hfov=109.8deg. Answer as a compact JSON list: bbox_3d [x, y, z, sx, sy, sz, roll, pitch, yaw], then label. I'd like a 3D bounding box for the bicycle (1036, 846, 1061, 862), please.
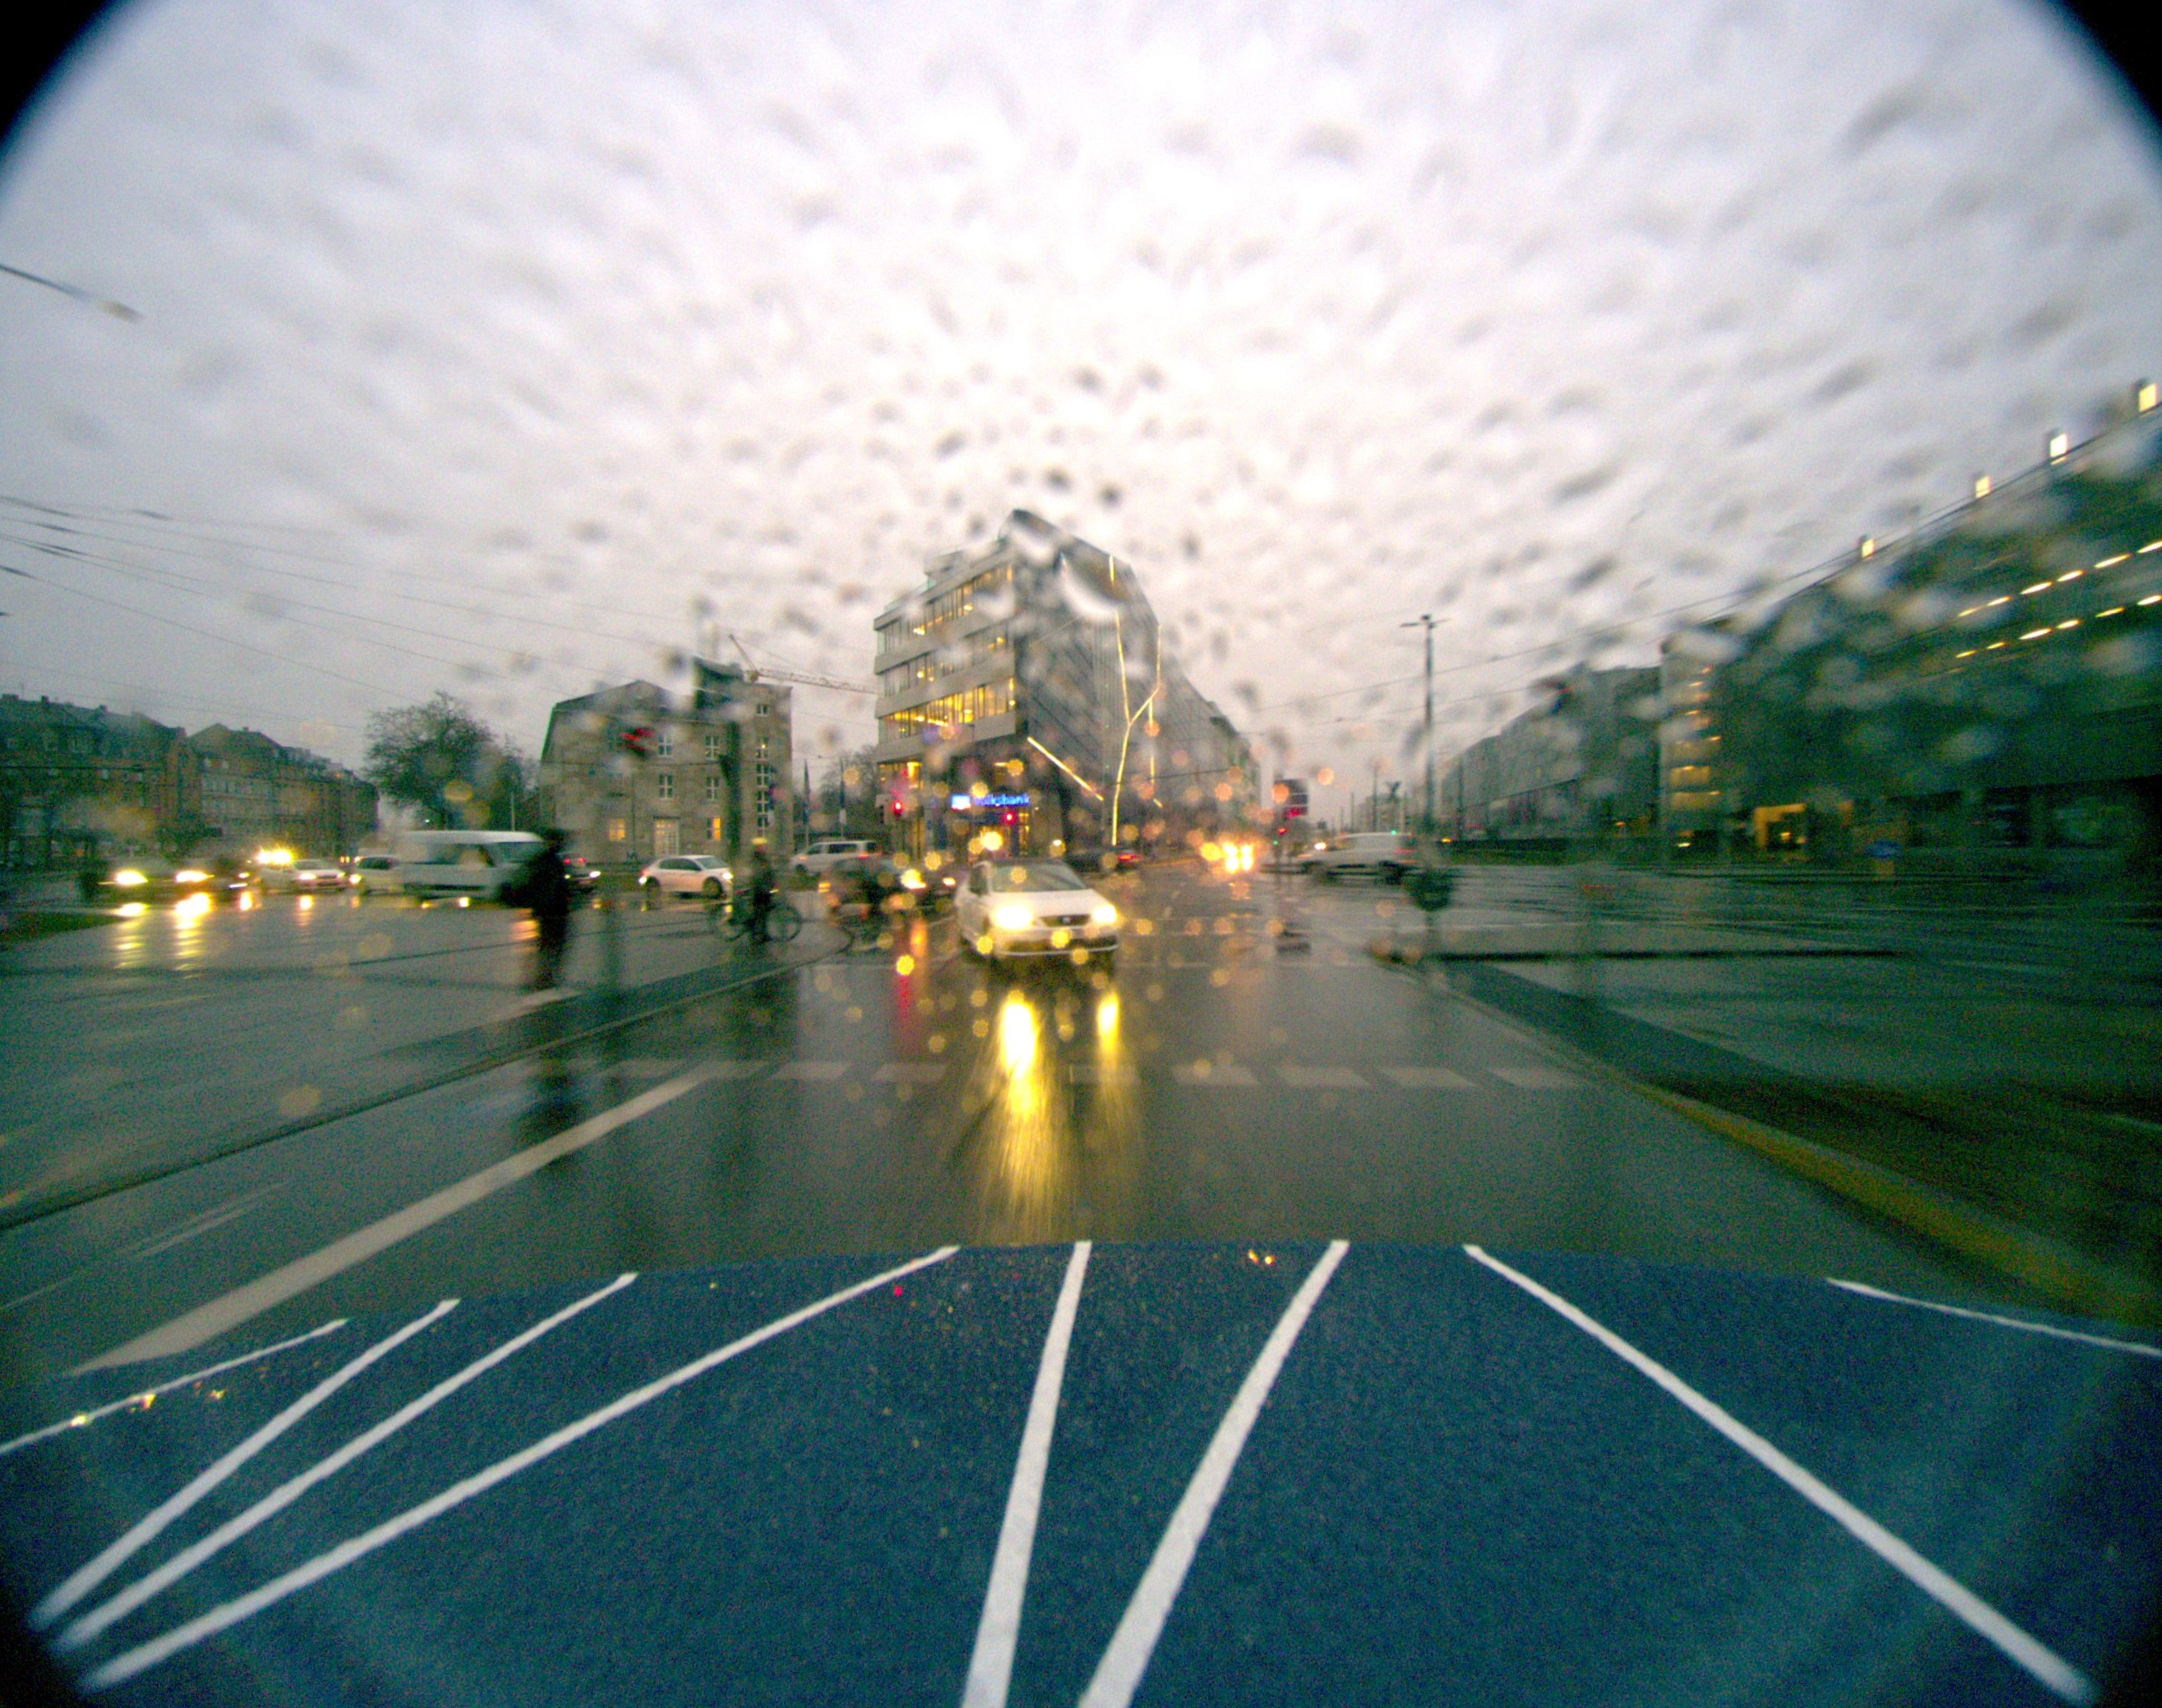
[{"bbox_3d":[-2.332,0.006,54.354,1.598,1.064,0.643,-1,1,18],"label":"bicycle"}]

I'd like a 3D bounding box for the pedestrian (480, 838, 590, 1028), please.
[{"bbox_3d":[-5.701,0.773,7.943,0.633,1.867,0.777,1,2,43],"label":"pedestrian"}]

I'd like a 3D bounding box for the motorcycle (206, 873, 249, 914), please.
[{"bbox_3d":[-26.712,1.210,23.772,2.403,1.176,0.485,0,2,33],"label":"motorcycle"}]

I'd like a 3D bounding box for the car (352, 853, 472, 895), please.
[{"bbox_3d":[-27.216,0.798,30.946,4.214,1.590,1.678,0,1,17],"label":"car"}]

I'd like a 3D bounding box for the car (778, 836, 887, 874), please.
[{"bbox_3d":[-13.821,0.042,42.253,5.649,2.047,1.956,0,1,18],"label":"car"}]

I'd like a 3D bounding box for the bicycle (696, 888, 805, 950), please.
[{"bbox_3d":[-5.831,1.113,13.392,1.862,0.968,0.658,0,1,25],"label":"bicycle"}]

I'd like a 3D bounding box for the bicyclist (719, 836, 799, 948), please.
[{"bbox_3d":[-5.616,0.639,13.287,0.986,1.880,0.794,0,2,25],"label":"bicyclist"}]

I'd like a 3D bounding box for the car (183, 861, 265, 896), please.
[{"bbox_3d":[-40.672,1.116,36.045,4.159,1.466,1.881,0,2,32],"label":"car"}]

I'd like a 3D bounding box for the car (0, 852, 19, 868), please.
[{"bbox_3d":[-96.037,0.575,66.668,1.378,1.406,3.193,0,1,33],"label":"car"}]

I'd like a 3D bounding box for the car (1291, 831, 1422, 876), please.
[{"bbox_3d":[11.140,-0.051,30.858,4.596,1.709,1.933,0,2,38],"label":"car"}]

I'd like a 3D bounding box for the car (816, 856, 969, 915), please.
[{"bbox_3d":[-5.074,0.786,20.390,3.811,1.380,1.727,0,2,30],"label":"car"}]

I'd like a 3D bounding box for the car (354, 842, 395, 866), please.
[{"bbox_3d":[-58.912,-0.052,63.332,4.948,1.861,1.909,1,3,41],"label":"car"}]

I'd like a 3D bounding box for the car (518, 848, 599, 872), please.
[{"bbox_3d":[-33.254,0.377,48.400,4.333,1.477,1.868,0,1,15],"label":"car"}]

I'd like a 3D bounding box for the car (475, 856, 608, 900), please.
[{"bbox_3d":[-20.633,0.895,29.091,4.352,1.561,1.829,0,1,17],"label":"car"}]

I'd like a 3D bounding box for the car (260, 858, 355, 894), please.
[{"bbox_3d":[-33.558,0.929,32.966,3.338,1.423,1.693,0,2,22],"label":"car"}]

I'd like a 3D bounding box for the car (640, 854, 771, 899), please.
[{"bbox_3d":[-13.366,0.772,27.101,3.910,1.456,1.765,0,3,13],"label":"car"}]

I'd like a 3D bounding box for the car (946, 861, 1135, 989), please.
[{"bbox_3d":[-0.827,0.887,11.519,1.790,1.371,4.215,-3,2,-18],"label":"car"}]

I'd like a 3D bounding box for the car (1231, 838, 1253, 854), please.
[{"bbox_3d":[17.255,-0.921,81.347,1.830,1.652,4.004,0,1,18],"label":"car"}]

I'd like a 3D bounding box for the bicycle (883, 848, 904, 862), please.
[{"bbox_3d":[-14.793,0.064,59.814,1.500,1.121,0.527,-1,2,-35],"label":"bicycle"}]

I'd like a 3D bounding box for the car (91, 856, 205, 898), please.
[{"bbox_3d":[-37.949,0.886,30.906,3.996,1.590,1.906,0,1,24],"label":"car"}]

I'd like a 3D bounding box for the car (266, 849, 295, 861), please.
[{"bbox_3d":[-96.013,0.136,91.178,1.756,1.362,3.604,-1,1,-36],"label":"car"}]

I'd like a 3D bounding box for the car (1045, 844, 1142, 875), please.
[{"bbox_3d":[0.564,0.253,36.643,4.411,1.436,1.632,0,1,28],"label":"car"}]

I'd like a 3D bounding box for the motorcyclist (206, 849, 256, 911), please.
[{"bbox_3d":[-26.550,0.793,23.735,0.919,1.871,0.888,0,2,35],"label":"motorcyclist"}]

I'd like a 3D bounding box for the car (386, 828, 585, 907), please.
[{"bbox_3d":[-19.824,0.405,25.341,5.658,2.449,2.245,0,2,16],"label":"car"}]
